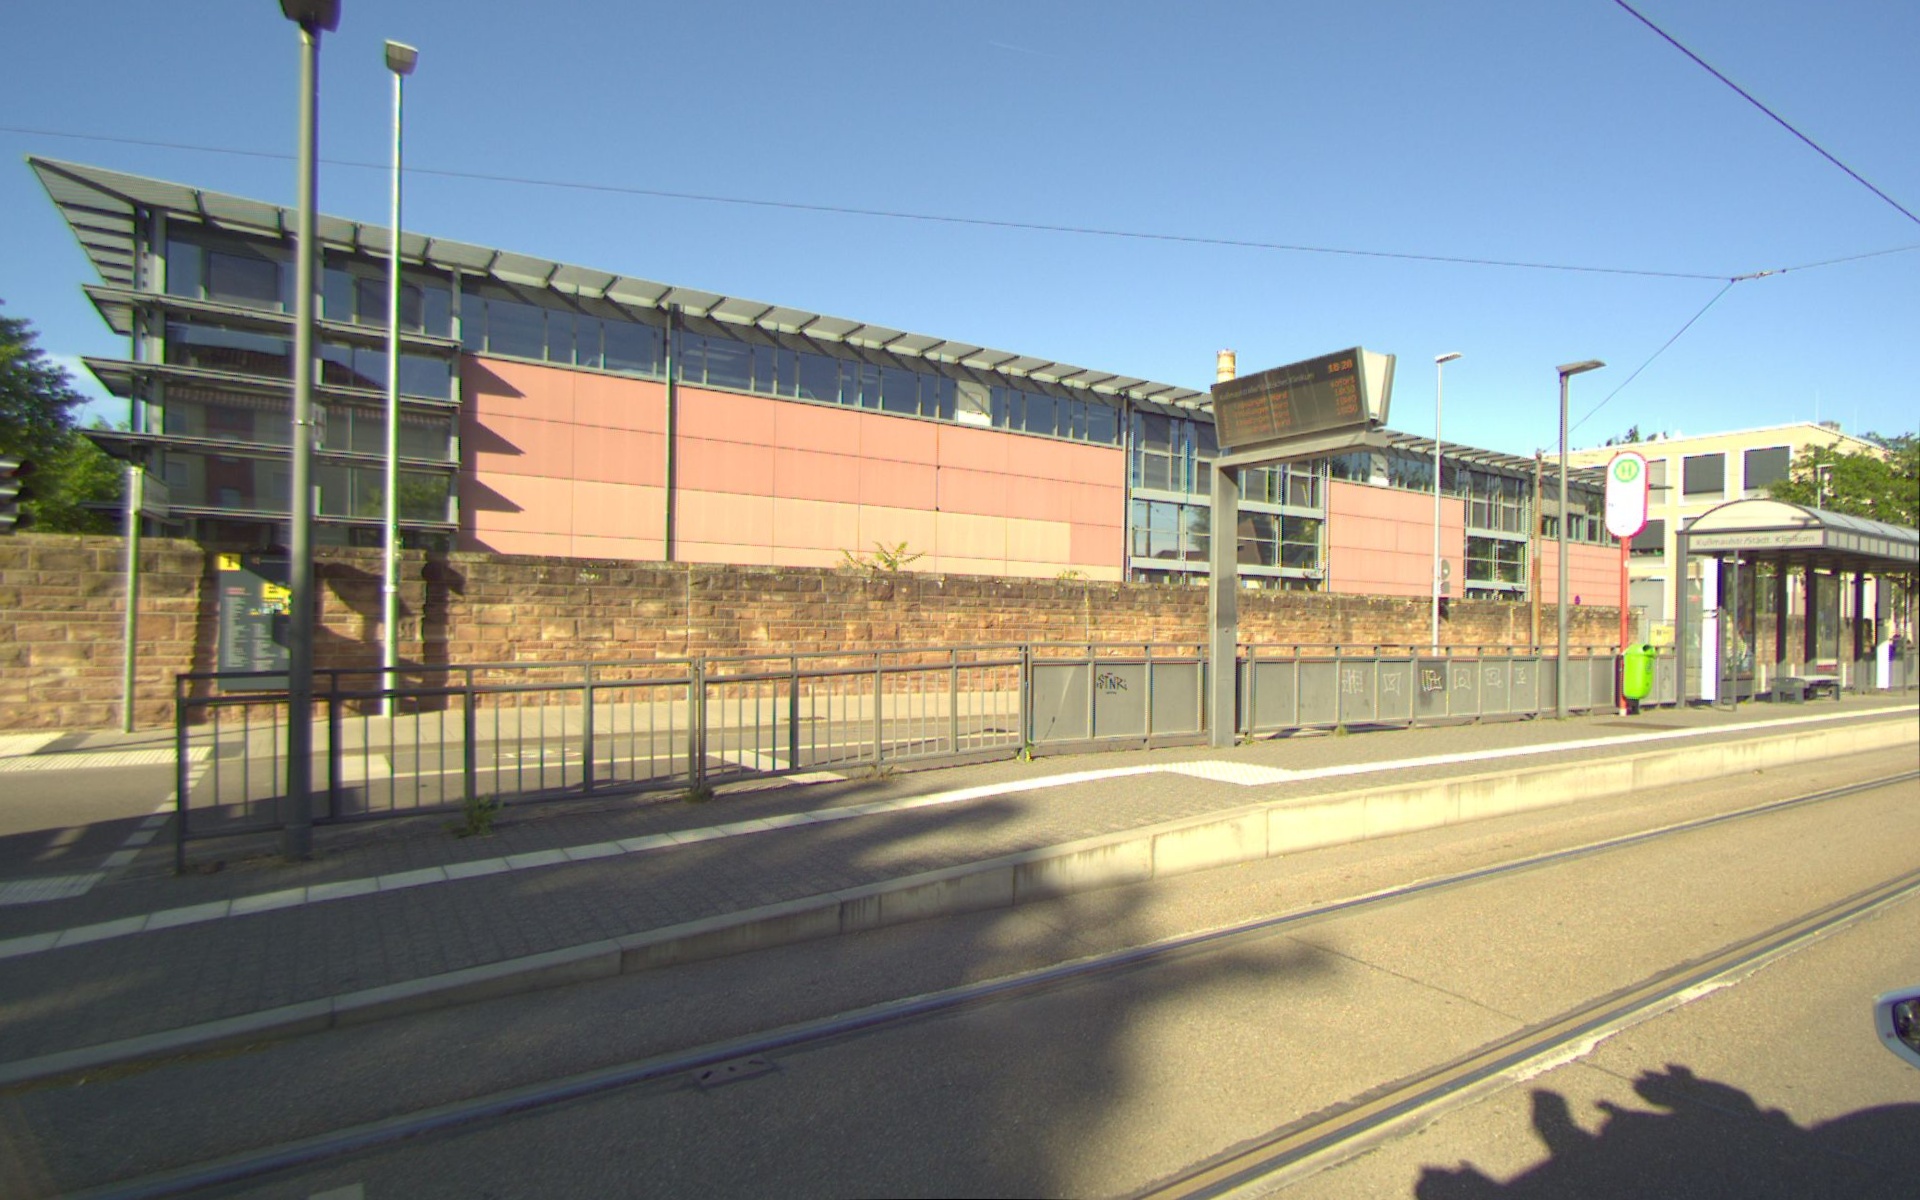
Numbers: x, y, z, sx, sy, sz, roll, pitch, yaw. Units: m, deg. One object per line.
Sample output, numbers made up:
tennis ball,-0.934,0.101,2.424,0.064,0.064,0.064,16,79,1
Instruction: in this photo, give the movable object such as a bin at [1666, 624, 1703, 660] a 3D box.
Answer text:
movable object such as a bin,30.054,1.744,41.657,1.296,1.466,0.875,2,-1,-34

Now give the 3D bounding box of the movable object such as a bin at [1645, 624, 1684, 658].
movable object such as a bin,27.584,1.599,39.314,1.296,1.302,0.875,2,-1,-35
